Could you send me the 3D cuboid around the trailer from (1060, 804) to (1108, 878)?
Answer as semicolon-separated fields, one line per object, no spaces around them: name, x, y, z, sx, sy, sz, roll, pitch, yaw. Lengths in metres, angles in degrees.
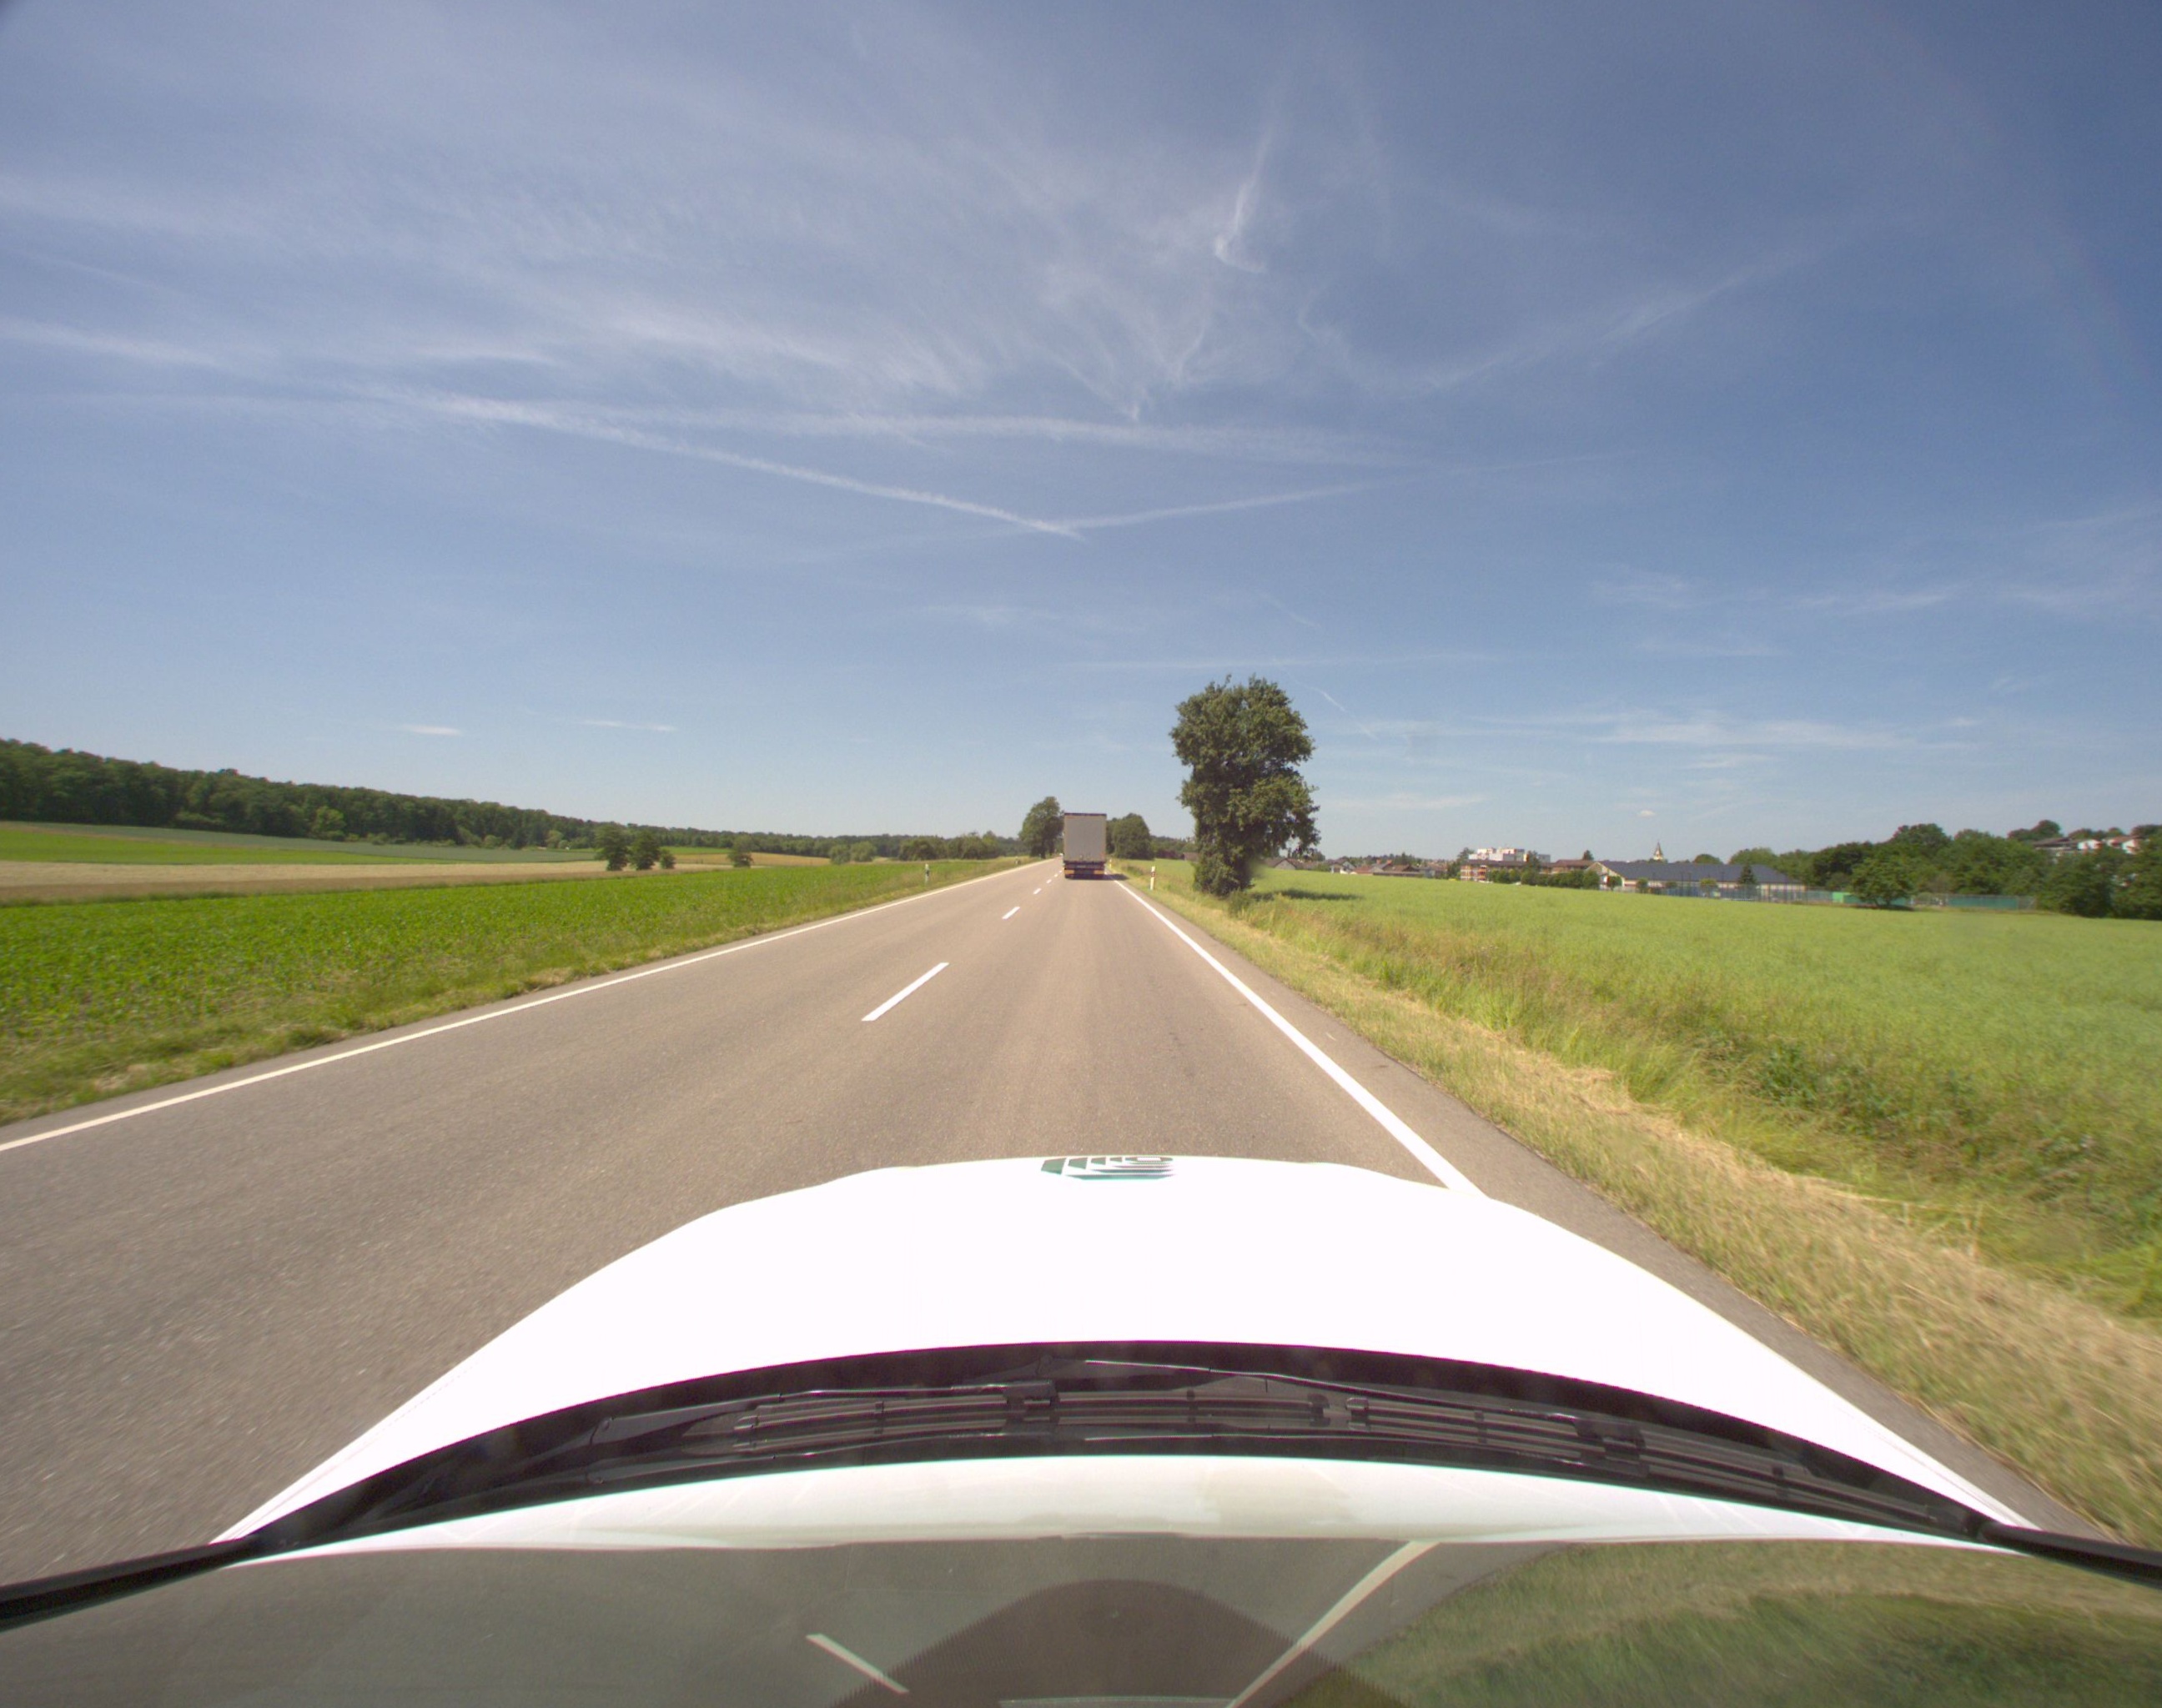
trailer;0.002;-0.786;54.897;2.859;4.400;13.484;0;0;-2
